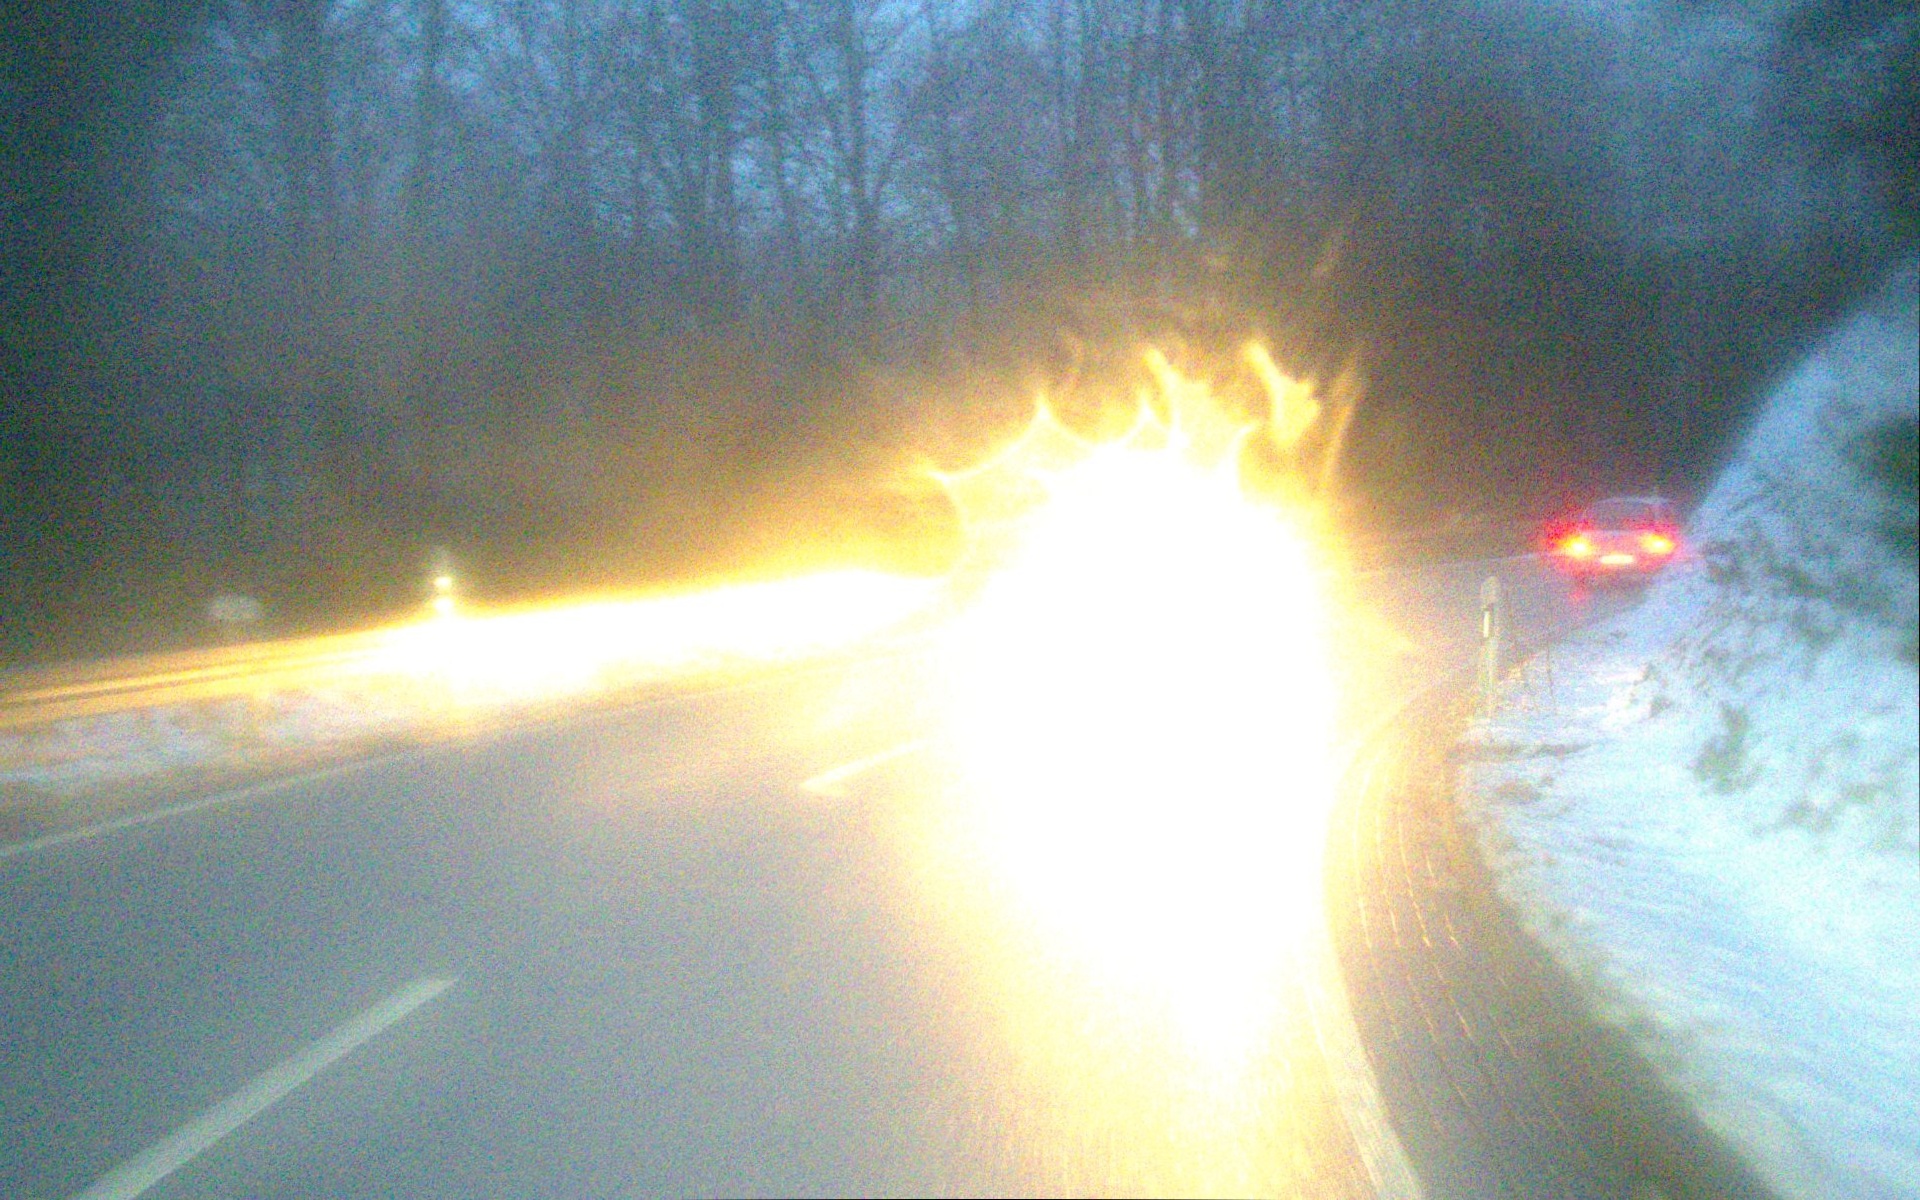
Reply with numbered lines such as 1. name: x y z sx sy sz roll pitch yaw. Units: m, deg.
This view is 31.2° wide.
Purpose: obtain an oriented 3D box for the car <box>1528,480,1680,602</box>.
1. car: 10.452 -0.956 55.618 1.995 1.866 3.997 -1 1 17

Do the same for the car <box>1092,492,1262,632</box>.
1. car: 2.717 -0.492 42.339 1.722 1.624 3.999 1 1 9
